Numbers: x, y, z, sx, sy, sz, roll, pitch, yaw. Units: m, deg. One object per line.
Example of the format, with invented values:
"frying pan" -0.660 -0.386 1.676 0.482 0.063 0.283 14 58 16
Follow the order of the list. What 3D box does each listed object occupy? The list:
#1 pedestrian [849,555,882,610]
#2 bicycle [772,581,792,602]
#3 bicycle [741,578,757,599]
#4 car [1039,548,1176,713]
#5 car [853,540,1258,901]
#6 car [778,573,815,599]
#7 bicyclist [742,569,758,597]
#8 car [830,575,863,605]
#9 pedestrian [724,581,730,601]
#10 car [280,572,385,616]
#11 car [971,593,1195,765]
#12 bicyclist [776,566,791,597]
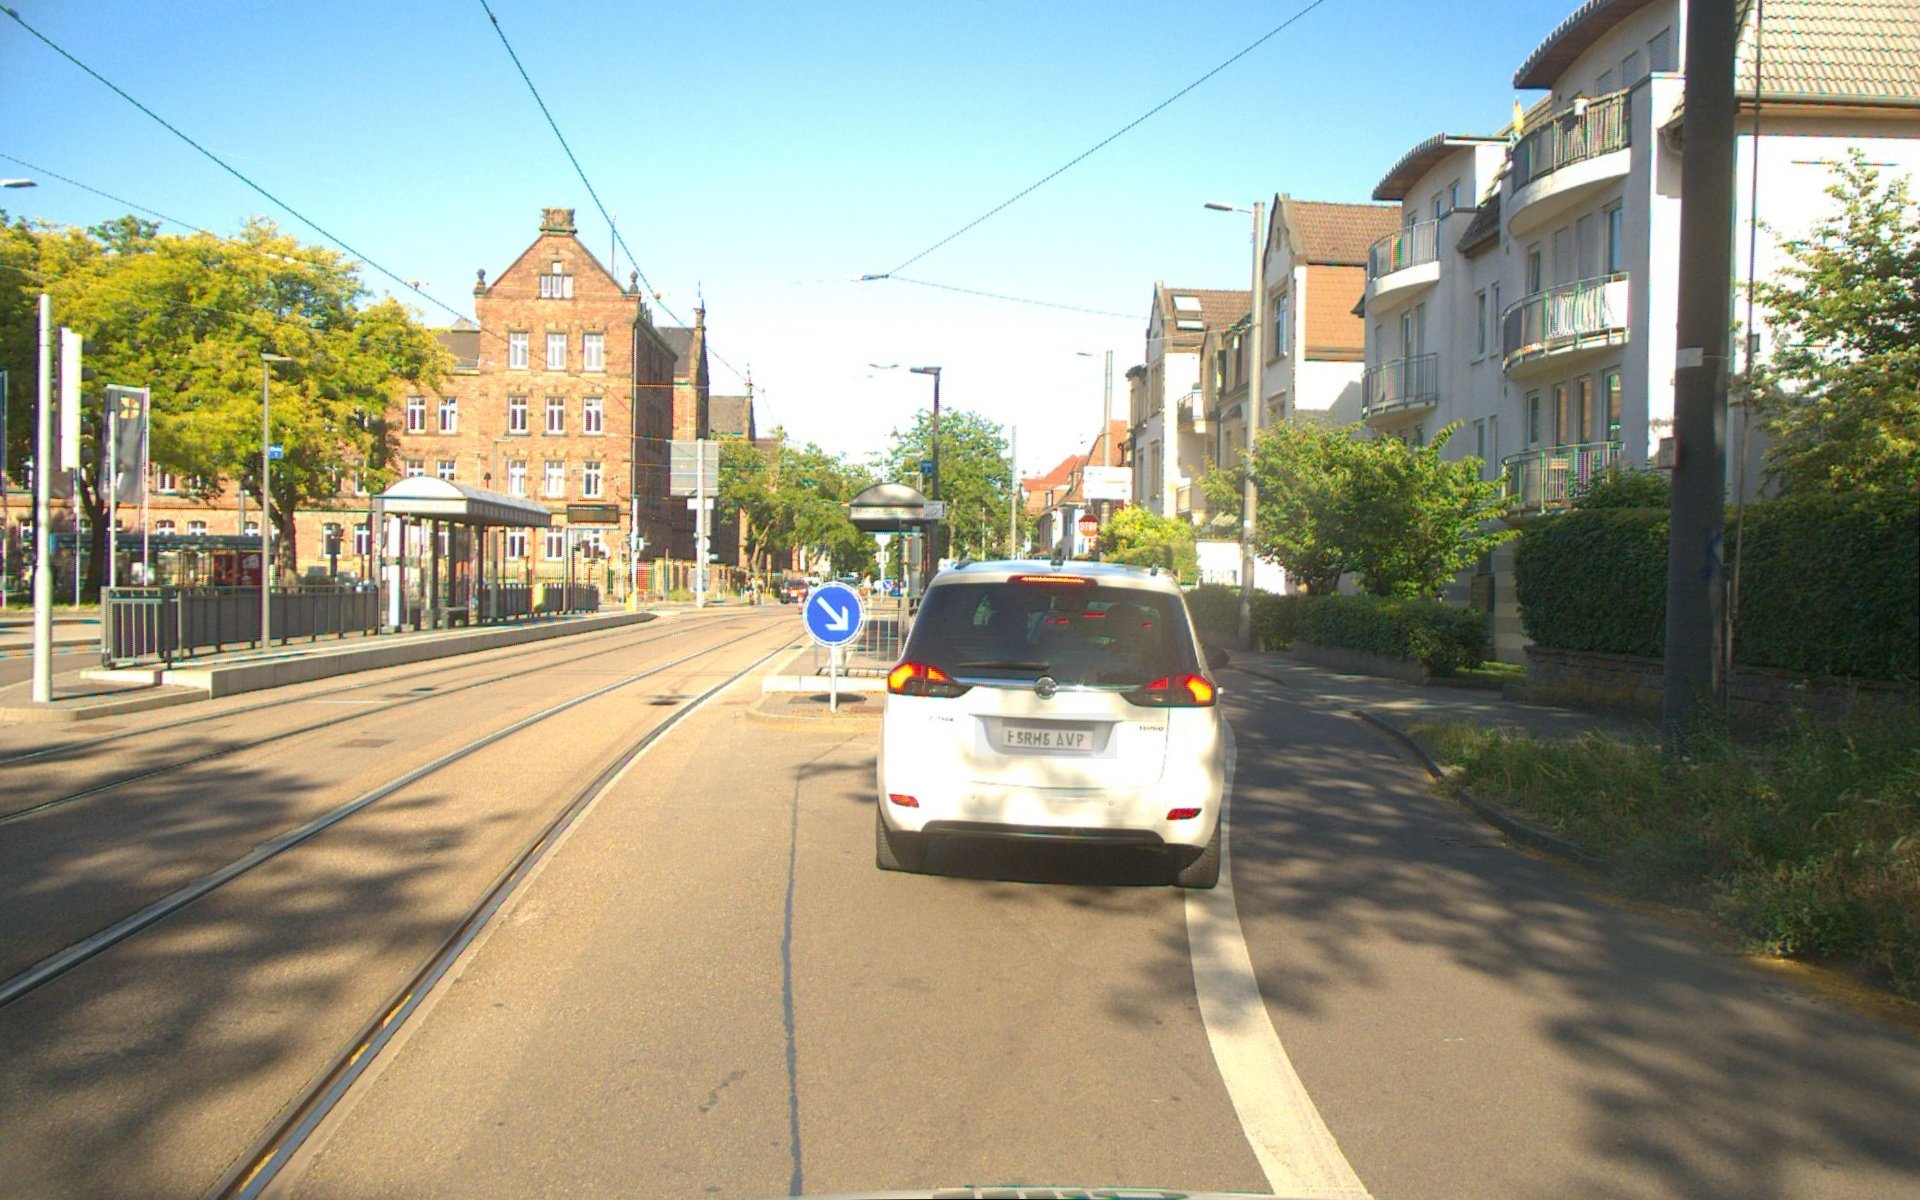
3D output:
"pedestrian" -3.629 -0.682 63.130 1.134 2.049 1.118 2 0 -7
"bicycle" -11.546 -0.573 107.582 1.125 1.319 2.859 1 1 -3
"bicycle" -13.336 -0.725 104.703 0.805 1.319 2.676 1 0 -3
"car" 2.086 0.360 22.544 1.672 2.049 3.910 0 0 8
"car" 0.652 0.595 9.744 1.852 1.639 4.231 0 -1 6
"car" -11.420 -0.968 115.820 1.952 1.752 4.002 1 1 3
"bicyclist" -13.332 -1.059 104.990 0.924 1.765 0.861 1 0 -2
"car" -7.477 -0.671 109.331 1.953 1.947 3.999 1 0 -1
"pedestrian" -16.973 -0.650 120.384 0.354 1.463 0.549 1 0 0
"car" -27.440 -0.266 72.414 3.910 1.821 1.997 1 0 -6
"car" 1.326 0.673 16.406 1.951 1.467 4.003 0 0 7
"bicyclist" -11.509 -1.203 107.576 0.932 2.049 0.822 1 0 -5
